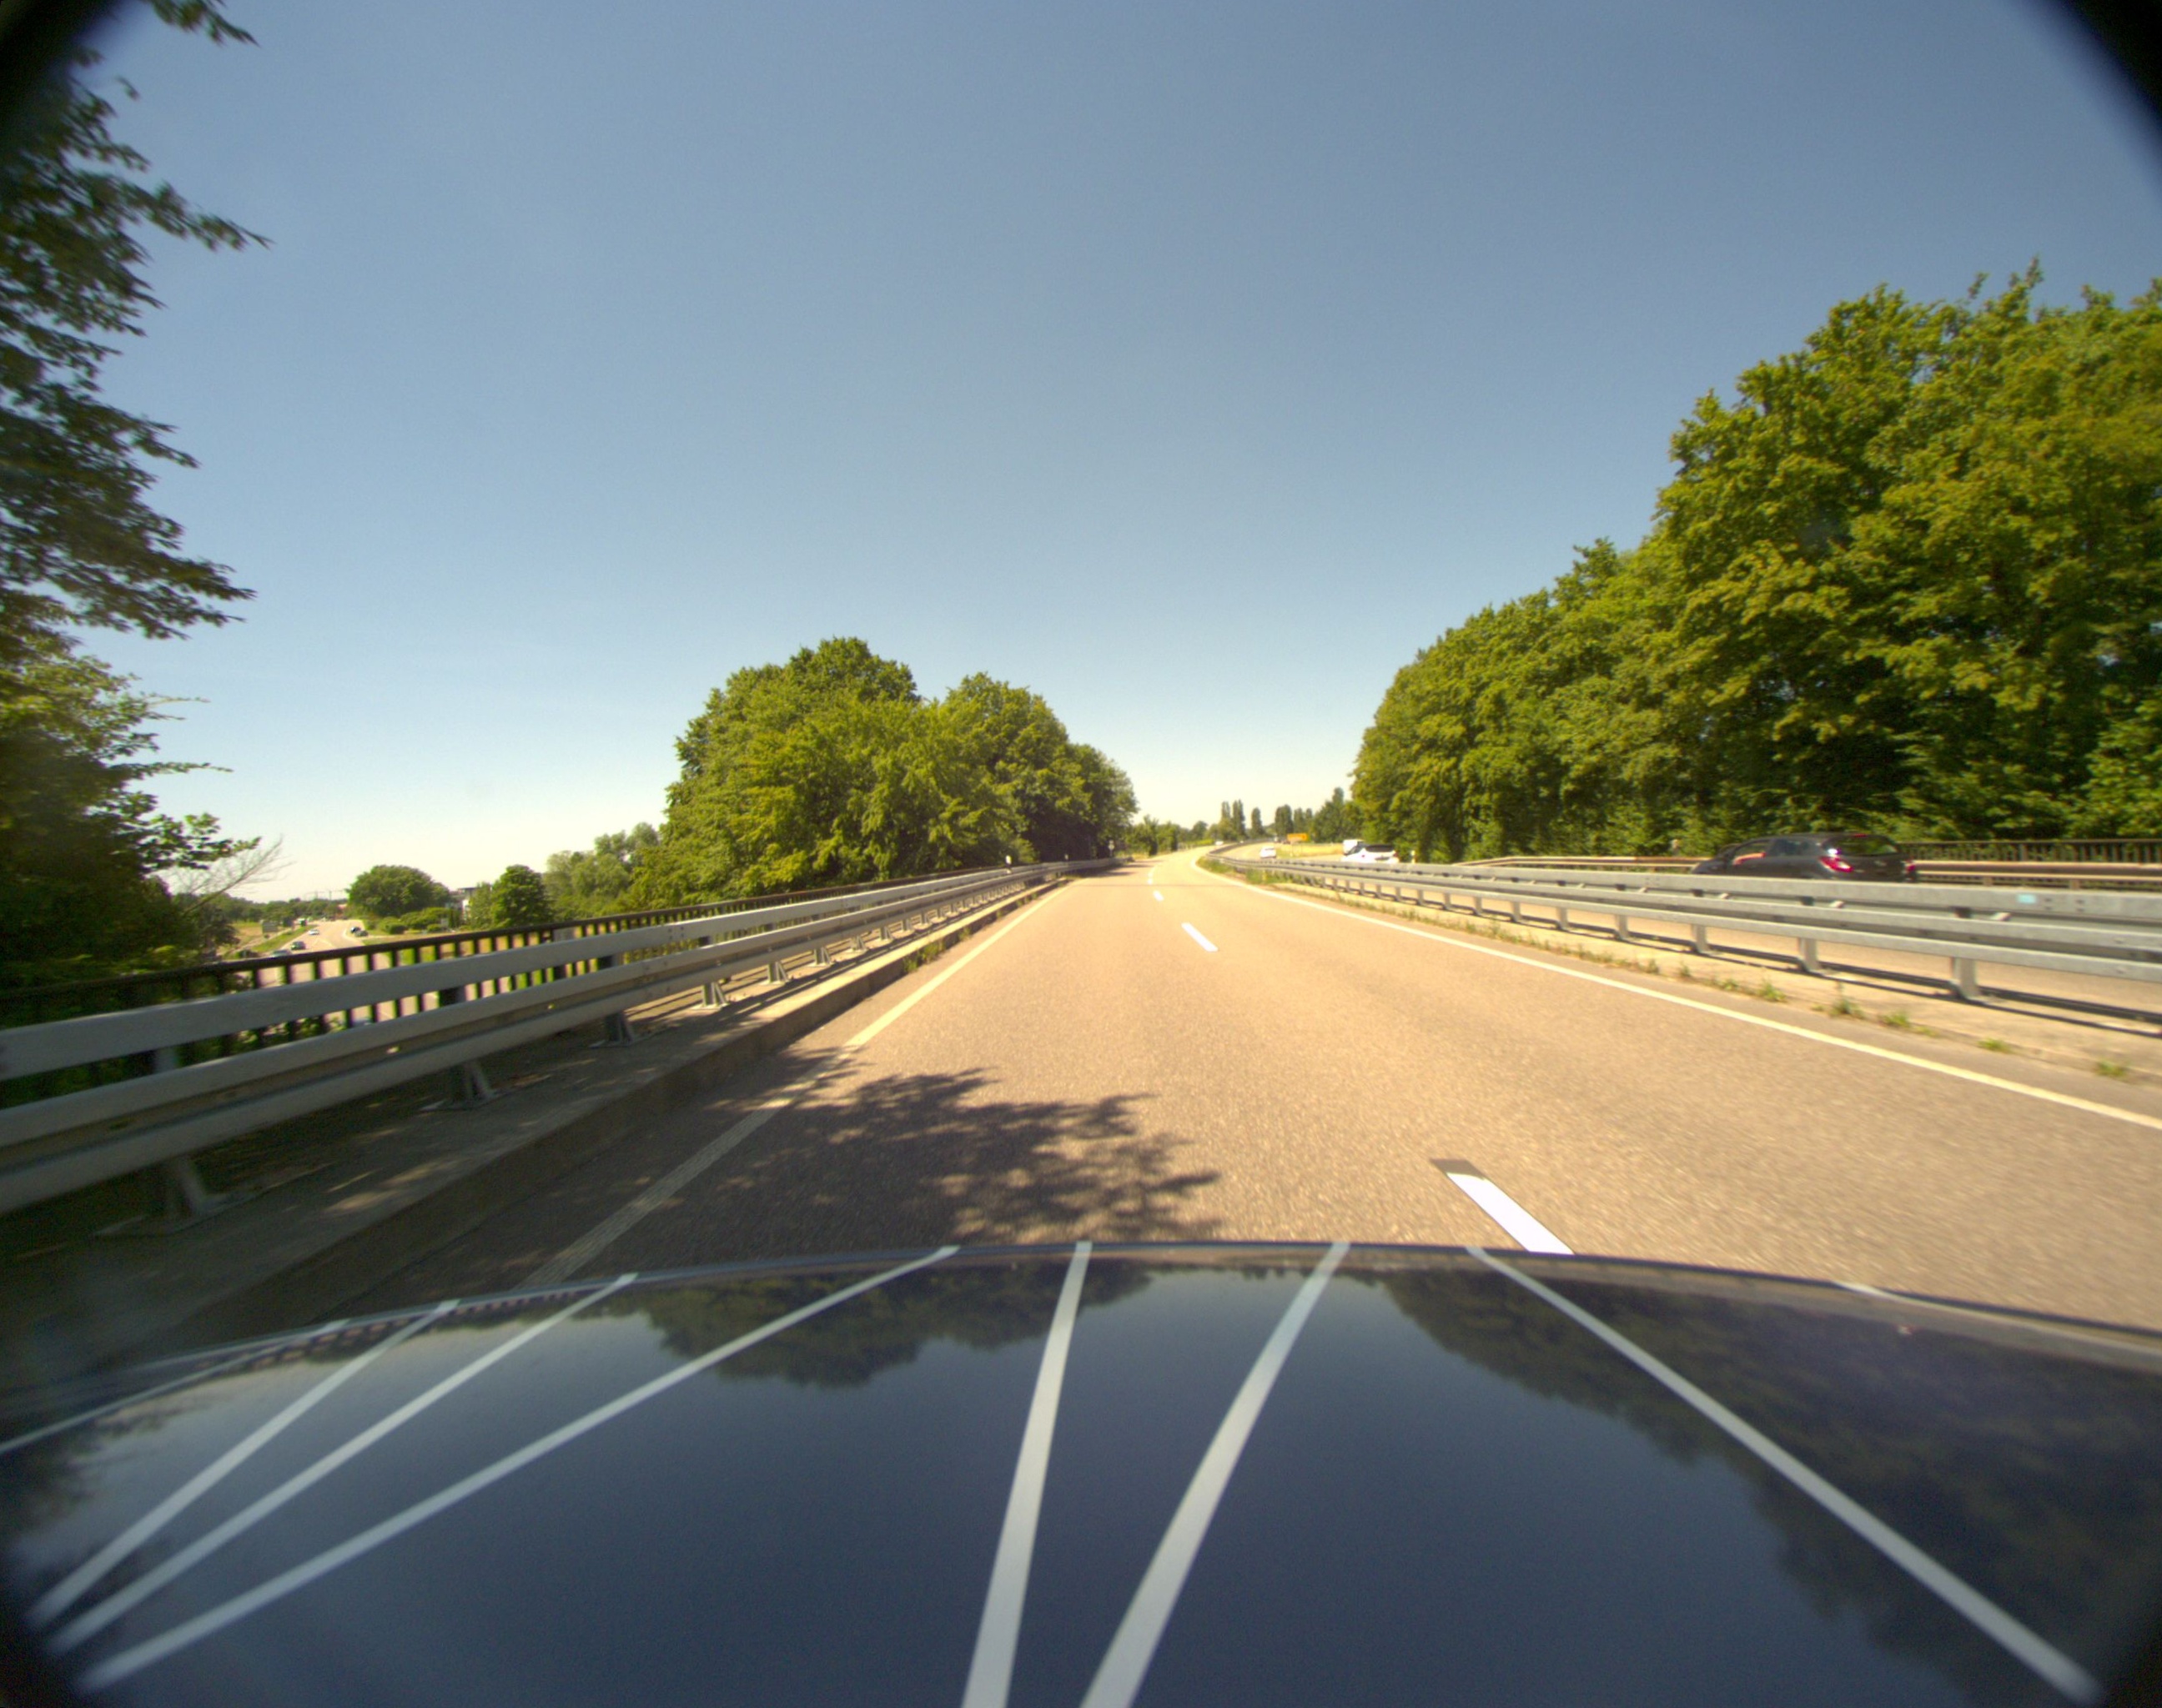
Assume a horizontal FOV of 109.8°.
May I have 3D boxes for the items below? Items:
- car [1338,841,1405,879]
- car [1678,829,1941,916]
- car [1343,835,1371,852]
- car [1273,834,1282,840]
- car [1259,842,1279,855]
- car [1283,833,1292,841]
[{"bbox_3d":[13.188,0.239,34.754,1.655,1.597,4.220,-2,1,4],"label":"car"},{"bbox_3d":[14.697,0.311,15.694,1.655,1.519,3.998,-2,1,1],"label":"car"},{"bbox_3d":[35.081,-1.346,96.438,1.990,1.940,5.650,-1,1,35],"label":"car"},{"bbox_3d":[61.238,-5.302,236.777,1.826,1.608,4.546,-1,1,22],"label":"car"},{"bbox_3d":[22.470,-0.646,91.111,1.654,1.439,4.220,-2,1,5],"label":"car"},{"bbox_3d":[58.797,-4.791,216.387,1.996,2.002,4.004,-4,1,20],"label":"car"}]
